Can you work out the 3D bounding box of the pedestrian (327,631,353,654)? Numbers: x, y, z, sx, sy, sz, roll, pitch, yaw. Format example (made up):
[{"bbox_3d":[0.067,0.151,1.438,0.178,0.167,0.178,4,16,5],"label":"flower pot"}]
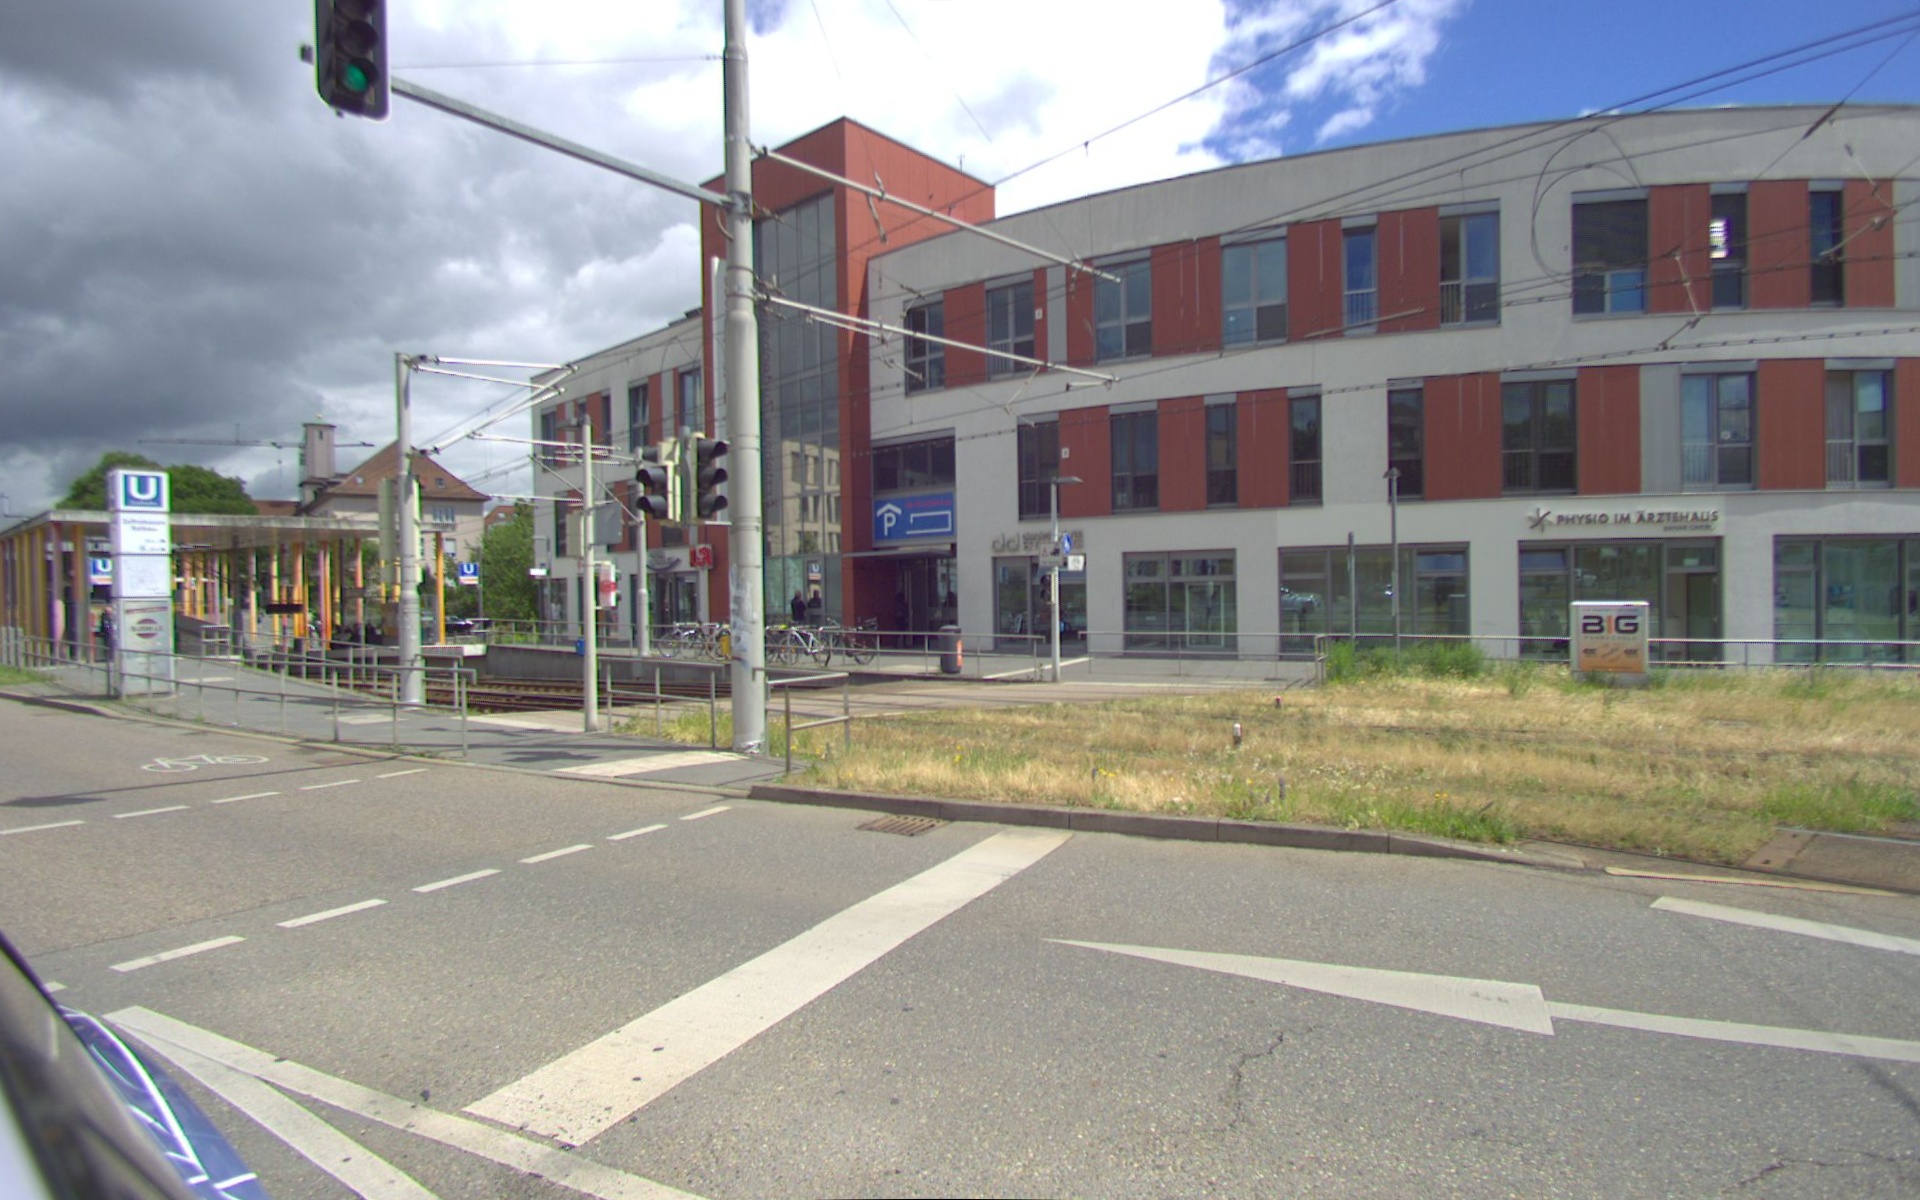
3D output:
[{"bbox_3d":[-31.406,2.140,51.260,0.886,1.143,0.931,-2,-1,42],"label":"pedestrian"}]

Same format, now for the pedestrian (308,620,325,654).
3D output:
[{"bbox_3d":[-39.184,2.237,61.588,0.773,2.029,0.610,-2,-1,34],"label":"pedestrian"}]

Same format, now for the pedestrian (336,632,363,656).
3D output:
[{"bbox_3d":[-30.112,2.147,49.897,0.886,1.143,0.931,-2,-1,42],"label":"pedestrian"}]

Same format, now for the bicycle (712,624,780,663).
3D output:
[{"bbox_3d":[-5.693,1.146,26.981,1.836,0.946,0.455,0,0,-45],"label":"bicycle"}]

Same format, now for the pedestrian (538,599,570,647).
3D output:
[{"bbox_3d":[-17.304,0.970,43.095,1.106,1.983,0.852,0,-1,43],"label":"pedestrian"}]

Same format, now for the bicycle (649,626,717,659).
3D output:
[{"bbox_3d":[-7.871,1.199,28.827,1.834,0.888,0.455,0,0,-41],"label":"bicycle"}]

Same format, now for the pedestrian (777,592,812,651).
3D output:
[{"bbox_3d":[-5.308,0.673,32.478,0.856,1.859,0.876,0,1,13],"label":"pedestrian"}]

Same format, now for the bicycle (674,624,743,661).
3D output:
[{"bbox_3d":[-6.978,1.162,28.139,1.835,0.939,0.455,0,0,-41],"label":"bicycle"}]

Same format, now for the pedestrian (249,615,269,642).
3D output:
[{"bbox_3d":[-53.756,2.195,77.640,1.112,2.029,1.180,0,-2,-44],"label":"pedestrian"}]

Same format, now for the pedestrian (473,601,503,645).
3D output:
[{"bbox_3d":[-21.555,1.060,46.227,1.105,1.983,0.853,0,-1,39],"label":"pedestrian"}]

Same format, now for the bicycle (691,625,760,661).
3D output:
[{"bbox_3d":[-6.365,1.159,27.580,1.835,0.929,0.455,0,0,-42],"label":"bicycle"}]

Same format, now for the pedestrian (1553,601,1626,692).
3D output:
[{"bbox_3d":[13.980,1.015,22.503,1.102,1.983,0.863,0,-1,6],"label":"pedestrian"}]

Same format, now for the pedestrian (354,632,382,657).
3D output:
[{"bbox_3d":[-28.546,2.144,48.788,0.886,1.143,0.931,-2,-1,42],"label":"pedestrian"}]

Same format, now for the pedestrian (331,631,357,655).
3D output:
[{"bbox_3d":[-30.802,2.151,50.615,0.886,1.143,0.931,-2,-1,42],"label":"pedestrian"}]

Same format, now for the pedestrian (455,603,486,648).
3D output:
[{"bbox_3d":[-22.052,1.132,45.575,1.105,1.983,0.853,0,-1,39],"label":"pedestrian"}]

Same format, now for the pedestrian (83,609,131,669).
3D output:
[{"bbox_3d":[-28.265,1.271,33.532,0.864,1.929,1.090,0,-1,42],"label":"pedestrian"}]

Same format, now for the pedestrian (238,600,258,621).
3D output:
[{"bbox_3d":[-70.353,1.011,100.028,1.429,2.029,1.972,1,-1,-31],"label":"pedestrian"}]

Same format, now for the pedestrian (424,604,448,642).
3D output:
[{"bbox_3d":[-27.691,1.212,53.460,0.852,1.983,1.107,1,-1,-44],"label":"pedestrian"}]

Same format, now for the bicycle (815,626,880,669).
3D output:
[{"bbox_3d":[-2.733,1.146,24.668,0.428,0.959,1.716,-1,0,43],"label":"bicycle"}]

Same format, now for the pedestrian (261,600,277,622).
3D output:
[{"bbox_3d":[-62.422,0.992,91.443,1.108,2.029,1.664,0,-1,-36],"label":"pedestrian"}]

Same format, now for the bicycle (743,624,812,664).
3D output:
[{"bbox_3d":[-4.735,1.135,26.333,0.454,0.970,1.837,-1,0,43],"label":"bicycle"}]

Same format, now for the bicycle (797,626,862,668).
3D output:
[{"bbox_3d":[-3.220,1.145,25.071,0.428,0.965,1.716,-1,0,43],"label":"bicycle"}]

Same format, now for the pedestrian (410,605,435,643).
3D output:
[{"bbox_3d":[-28.131,1.259,52.982,0.852,1.983,1.107,1,-1,-44],"label":"pedestrian"}]

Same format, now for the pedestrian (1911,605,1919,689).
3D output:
[{"bbox_3d":[18.498,0.885,18.921,0.682,1.592,0.734,-1,-1,4],"label":"pedestrian"}]

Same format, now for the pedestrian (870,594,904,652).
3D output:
[{"bbox_3d":[-2.224,0.695,30.748,0.920,1.711,0.791,1,-1,-13],"label":"pedestrian"}]

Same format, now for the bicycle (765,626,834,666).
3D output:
[{"bbox_3d":[-4.051,1.145,25.697,0.454,0.942,1.837,-1,0,43],"label":"bicycle"}]

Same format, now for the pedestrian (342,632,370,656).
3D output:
[{"bbox_3d":[-29.395,2.144,49.262,0.886,1.143,0.931,-2,-1,42],"label":"pedestrian"}]
